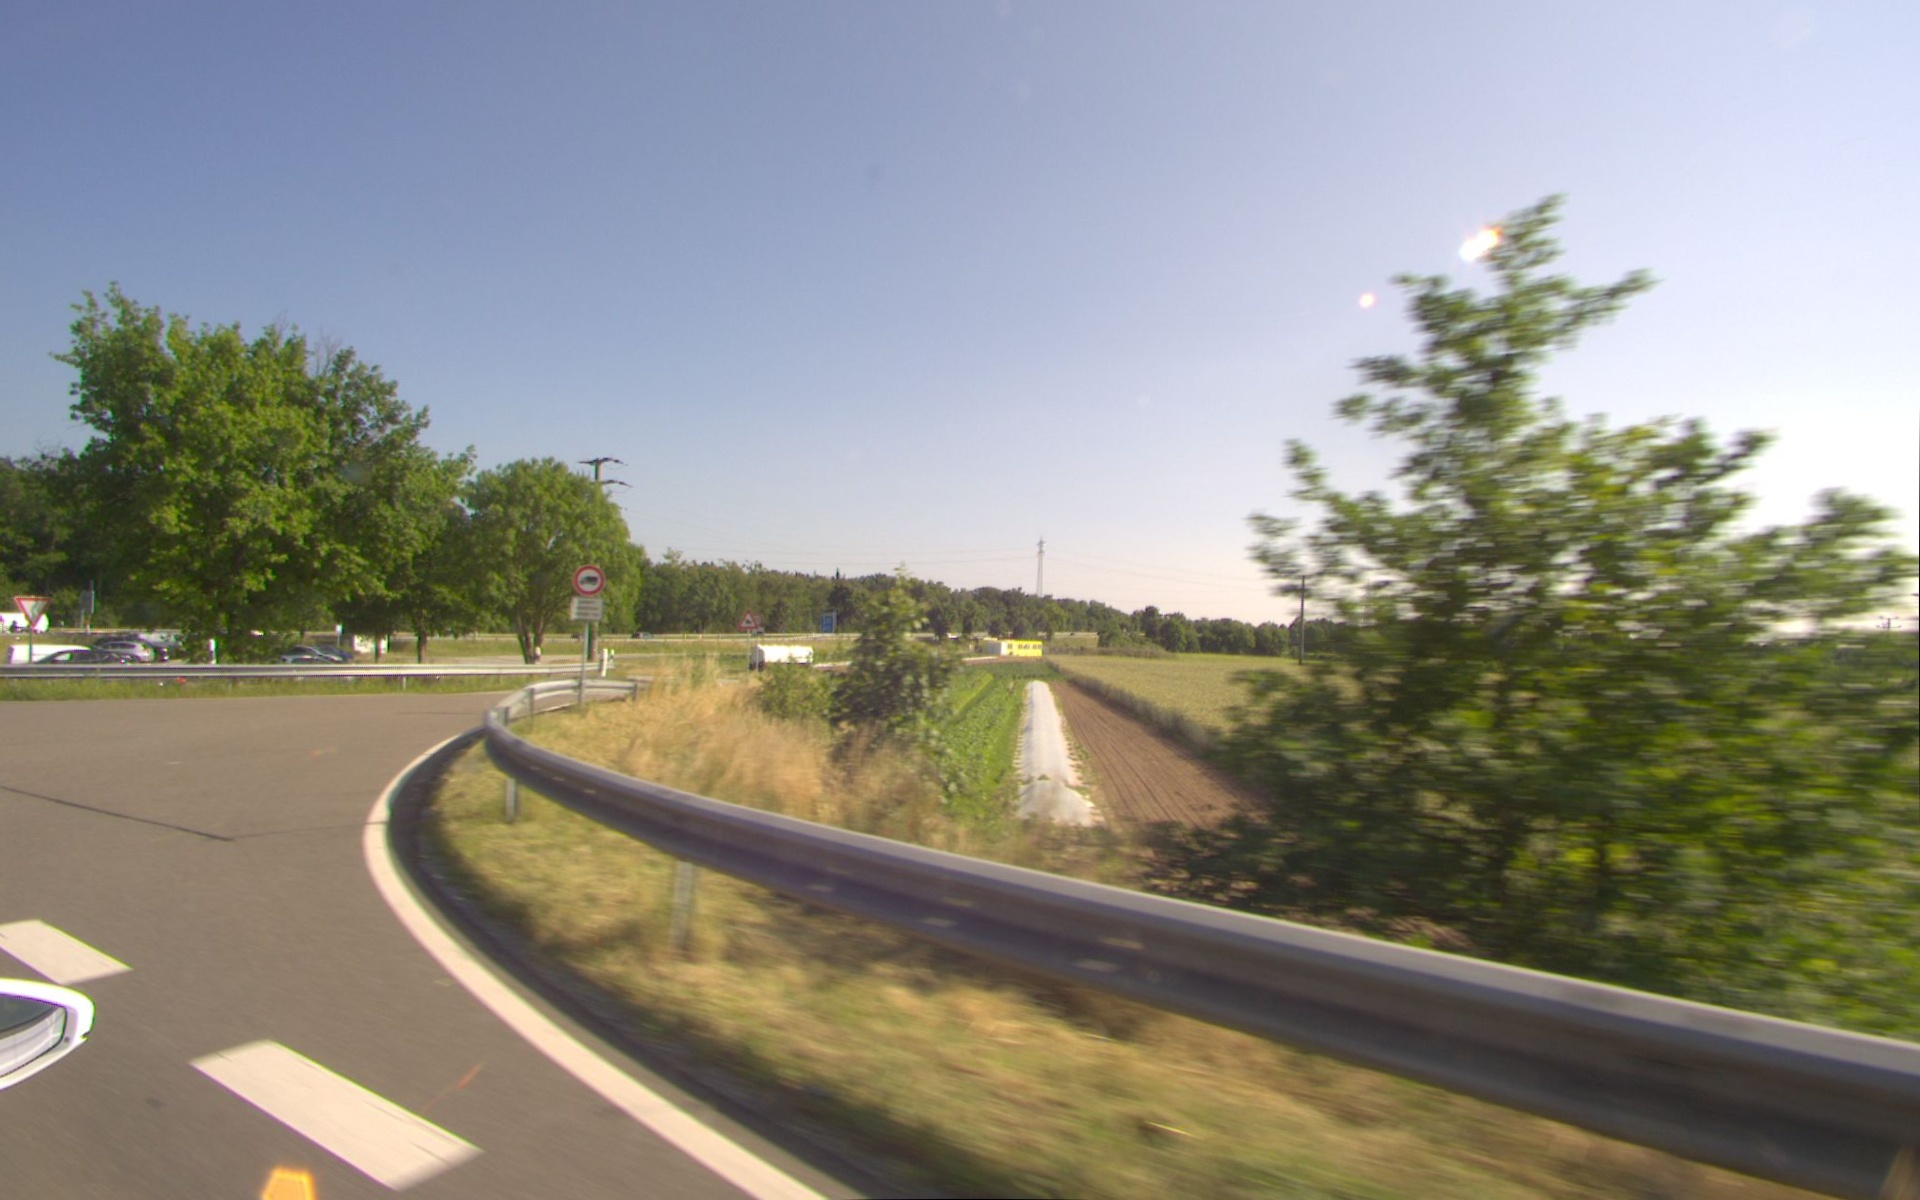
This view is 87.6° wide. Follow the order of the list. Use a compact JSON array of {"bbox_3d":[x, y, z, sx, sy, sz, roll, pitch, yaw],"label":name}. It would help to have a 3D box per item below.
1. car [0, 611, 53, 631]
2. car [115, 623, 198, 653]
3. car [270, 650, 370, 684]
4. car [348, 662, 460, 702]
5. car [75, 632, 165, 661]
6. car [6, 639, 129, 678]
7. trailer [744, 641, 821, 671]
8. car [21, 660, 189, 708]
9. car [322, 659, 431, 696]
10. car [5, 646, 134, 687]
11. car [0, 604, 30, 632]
[{"bbox_3d":[-74.625,1.634,78.461,1.967,1.572,4.881,0,0,25],"label":"car"},{"bbox_3d":[-55.646,2.660,69.428,3.933,1.899,1.888,4,-3,-19],"label":"car"},{"bbox_3d":[-34.569,3.637,54.125,4.322,1.609,1.984,5,-4,-39],"label":"car"},{"bbox_3d":[-25.046,3.713,45.195,1.868,1.685,3.975,0,-4,39],"label":"car"},{"bbox_3d":[-53.316,2.955,63.654,3.939,1.639,1.885,4,-3,-25],"label":"car"},{"bbox_3d":[-43.643,2.883,49.016,1.881,1.806,4.333,0,-3,44],"label":"car"},{"bbox_3d":[-16.823,5.357,95.248,6.742,2.704,2.866,4,-3,-43],"label":"trailer"},{"bbox_3d":[-33.414,3.230,39.268,1.972,1.647,4.643,0,-2,33],"label":"car"},{"bbox_3d":[-27.358,3.657,47.050,1.869,1.600,3.974,0,-4,39],"label":"car"},{"bbox_3d":[-41.592,3.054,46.851,1.881,1.689,4.389,1,-1,44],"label":"car"},{"bbox_3d":[-69.894,1.291,72.065,1.771,2.040,3.988,1,-1,26],"label":"car"}]
